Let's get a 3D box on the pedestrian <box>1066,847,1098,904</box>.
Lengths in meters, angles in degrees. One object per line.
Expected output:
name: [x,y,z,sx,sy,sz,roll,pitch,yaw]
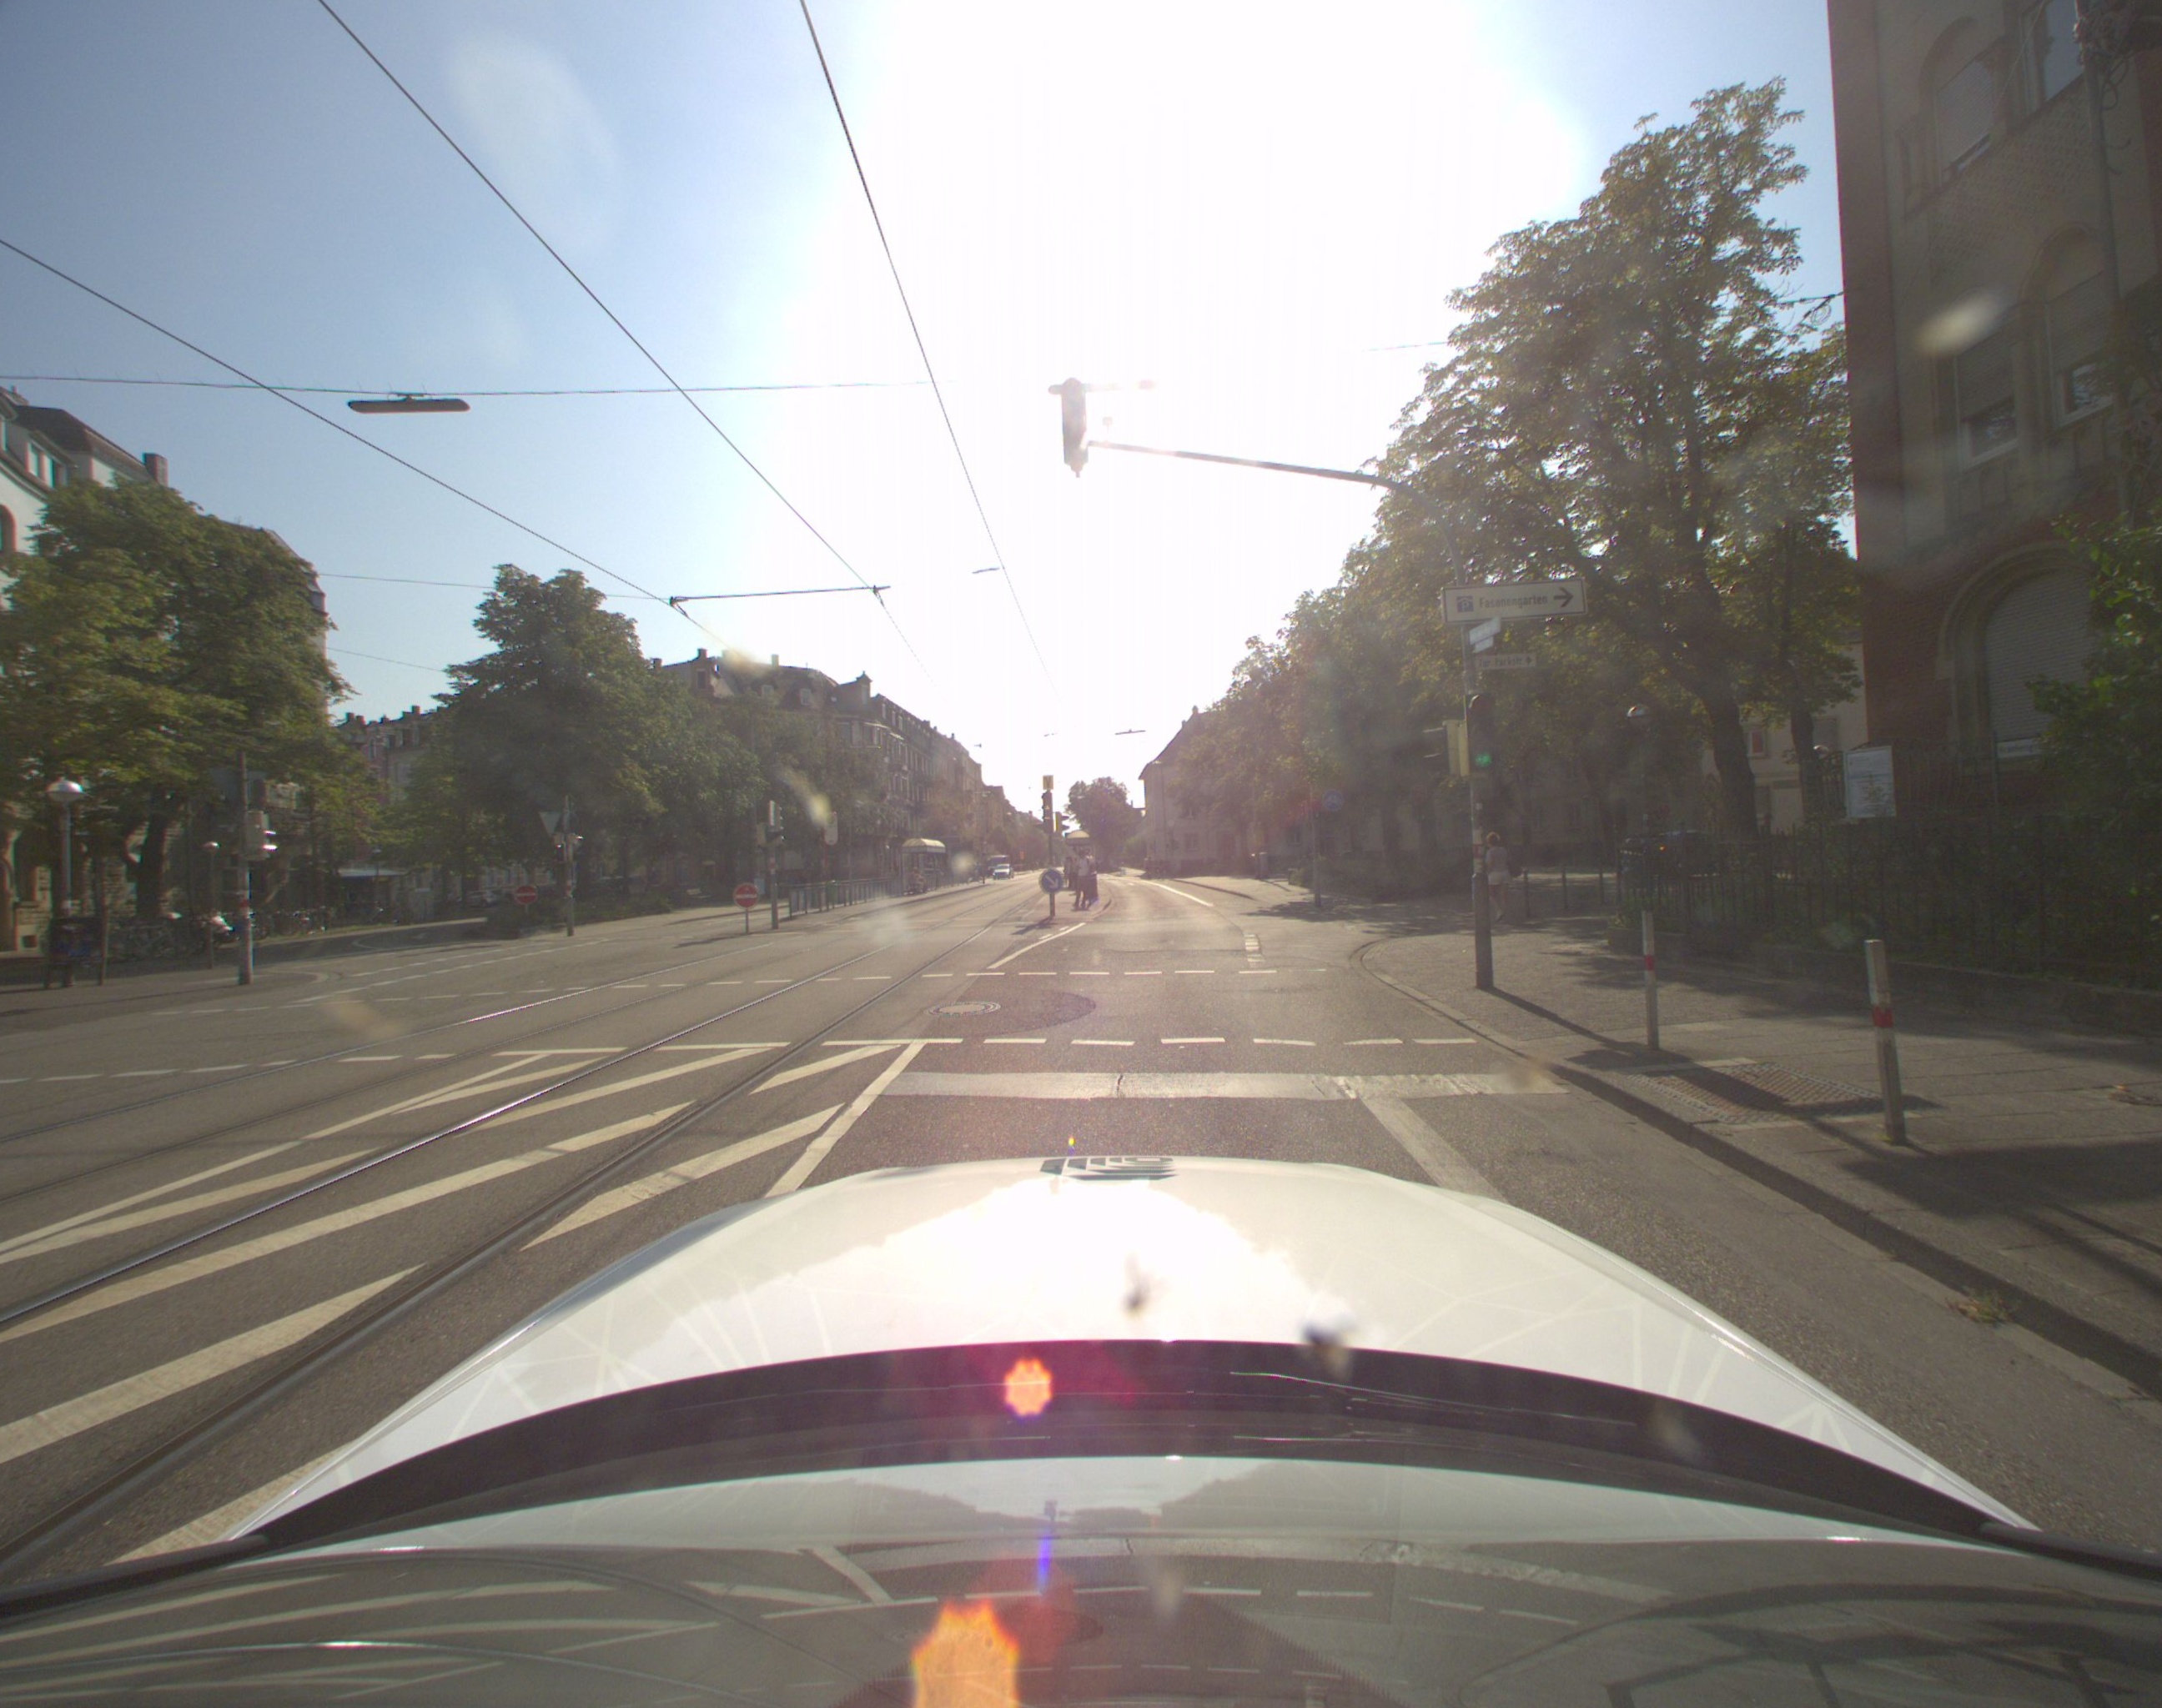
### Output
pedestrian: [0.043,0.671,25.624,0.693,1.725,0.753,1,2,34]

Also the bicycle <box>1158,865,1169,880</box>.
bicycle: [5.868,1.306,57.888,0.556,0.978,1.856,-3,0,0]

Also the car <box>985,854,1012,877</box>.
car: [-10.283,1.379,101.830,2.336,2.662,5.112,-3,-1,5]

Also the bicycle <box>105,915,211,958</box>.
bicycle: [-25.941,2.310,22.922,1.887,1.034,0.563,-1,-2,-38]

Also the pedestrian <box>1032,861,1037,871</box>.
pedestrian: [-7.950,2.093,140.038,0.749,1.731,0.769,-3,-1,-8]

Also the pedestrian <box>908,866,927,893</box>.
pedestrian: [-8.506,1.307,42.370,0.826,1.359,0.775,-3,-1,-4]

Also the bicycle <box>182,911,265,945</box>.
bicycle: [-30.283,2.595,28.800,1.885,1.027,0.657,-2,-2,-33]

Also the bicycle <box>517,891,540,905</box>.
bicycle: [-43.427,3.463,64.025,1.833,0.958,0.551,-3,-1,24]

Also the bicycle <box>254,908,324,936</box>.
bicycle: [-31.771,2.724,32.704,1.908,0.980,0.679,-2,-2,-33]

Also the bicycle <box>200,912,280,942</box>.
bicycle: [-30.860,2.683,29.928,1.919,0.935,0.730,-2,-2,-33]

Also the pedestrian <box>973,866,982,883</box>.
pedestrian: [-10.541,2.092,82.930,0.747,1.731,0.772,-3,-1,3]

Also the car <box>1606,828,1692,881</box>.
car: [18.719,-0.019,26.751,1.592,1.515,4.253,-3,0,44]

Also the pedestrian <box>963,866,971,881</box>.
pedestrian: [-13.237,2.224,94.533,0.749,1.731,0.769,-3,-1,-8]

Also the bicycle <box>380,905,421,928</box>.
bicycle: [-32.926,3.019,39.439,0.423,0.978,1.770,-3,0,1]

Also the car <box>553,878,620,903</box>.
car: [-36.311,2.692,59.801,4.284,1.569,2.011,-3,-1,22]

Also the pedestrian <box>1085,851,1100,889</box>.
pedestrian: [0.565,0.745,38.786,0.706,1.759,0.534,0,2,1]

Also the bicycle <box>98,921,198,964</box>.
bicycle: [-23.856,2.243,20.851,0.473,0.920,1.619,-3,-1,31]

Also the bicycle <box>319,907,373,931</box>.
bicycle: [-34.420,3.053,38.153,1.771,0.978,0.516,-3,-1,-21]

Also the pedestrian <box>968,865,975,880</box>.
pedestrian: [-13.083,2.234,97.488,0.749,1.731,0.769,-3,-1,-8]

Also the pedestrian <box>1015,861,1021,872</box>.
pedestrian: [-10.164,2.076,131.551,0.749,1.731,0.769,-3,-1,-8]

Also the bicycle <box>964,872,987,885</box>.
bicycle: [-9.150,2.100,70.396,1.935,0.978,0.495,-3,-1,-8]

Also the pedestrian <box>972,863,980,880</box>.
pedestrian: [-11.040,1.876,85.656,0.749,1.731,0.769,-3,-1,-8]

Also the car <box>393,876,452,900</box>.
car: [-57.984,2.977,71.754,3.959,1.828,2.007,-3,-1,13]

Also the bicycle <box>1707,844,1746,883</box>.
bicycle: [17.757,0.244,22.381,1.779,0.978,0.421,-3,-1,-39]

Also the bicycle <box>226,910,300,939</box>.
bicycle: [-31.445,2.700,31.338,1.908,0.980,0.679,-2,-2,-33]

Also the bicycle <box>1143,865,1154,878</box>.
bicycle: [5.129,1.327,61.805,0.627,0.978,1.769,-3,0,0]

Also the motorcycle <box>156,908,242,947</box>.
motorcycle: [-29.996,2.475,27.745,1.882,1.154,0.601,-2,-2,-33]

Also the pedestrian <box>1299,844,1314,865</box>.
pedestrian: [19.127,0.053,69.015,0.882,1.740,0.781,-3,-1,38]

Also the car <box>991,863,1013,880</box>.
car: [-8.331,1.829,86.589,1.794,1.653,3.644,-3,-1,2]

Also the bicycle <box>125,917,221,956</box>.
bicycle: [-26.789,2.410,24.064,1.814,0.984,0.563,-1,-2,-40]

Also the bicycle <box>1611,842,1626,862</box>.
bicycle: [27.362,-0.119,41.439,0.420,0.978,1.566,-3,-1,39]

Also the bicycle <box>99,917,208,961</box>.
bicycle: [-24.892,2.258,21.883,0.562,1.003,1.890,-3,-2,37]

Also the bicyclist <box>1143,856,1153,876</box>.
bicyclist: [5.116,0.931,61.807,0.627,1.507,0.678,-3,-1,-1]

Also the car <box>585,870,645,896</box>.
car: [-36.038,2.235,62.988,3.952,1.828,2.011,-3,-1,22]

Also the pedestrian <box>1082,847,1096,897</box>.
pedestrian: [0.300,0.655,29.888,0.502,1.834,0.534,0,2,1]

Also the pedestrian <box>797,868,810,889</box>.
pedestrian: [-23.285,2.036,68.372,0.775,1.731,0.744,-2,-1,-37]

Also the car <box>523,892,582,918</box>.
car: [-42.771,4.128,65.903,3.952,1.828,2.011,-3,-1,22]

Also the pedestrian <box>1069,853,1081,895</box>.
pedestrian: [-0.244,0.846,34.598,0.502,1.759,0.534,0,2,1]

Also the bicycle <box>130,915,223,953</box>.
bicycle: [-27.635,2.433,24.912,1.814,0.983,0.652,-1,-2,-40]

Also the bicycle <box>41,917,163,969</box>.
bicycle: [-24.752,2.223,20.639,0.563,1.113,1.888,-3,-1,22]

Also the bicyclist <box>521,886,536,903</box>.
bicyclist: [-43.401,3.179,64.002,0.811,1.328,0.551,-3,-1,24]

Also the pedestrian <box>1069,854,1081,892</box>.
pedestrian: [-0.295,0.897,38.608,0.541,1.759,0.534,0,2,1]

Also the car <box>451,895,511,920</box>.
car: [-47.688,4.254,64.758,3.952,1.828,2.011,-3,-1,22]

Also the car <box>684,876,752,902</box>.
car: [-26.091,2.506,58.476,4.346,1.569,1.982,-2,-1,-27]

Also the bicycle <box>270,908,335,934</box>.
bicycle: [-32.534,2.785,34.054,1.877,0.935,0.635,-2,-1,-17]

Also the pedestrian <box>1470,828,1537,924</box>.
pedestrian: [7.977,0.401,15.405,0.749,1.731,0.769,-3,-1,-8]

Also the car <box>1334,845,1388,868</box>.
car: [19.118,0.176,55.807,1.752,1.428,4.134,-3,0,-8]

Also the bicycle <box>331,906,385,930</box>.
bicycle: [-34.539,3.059,38.931,1.772,0.978,0.601,-3,-1,-23]

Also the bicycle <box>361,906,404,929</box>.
bicycle: [-33.306,3.024,38.856,0.423,0.978,1.770,-3,0,1]

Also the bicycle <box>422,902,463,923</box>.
bicycle: [-33.513,3.068,42.763,1.754,0.978,0.607,-3,-1,8]

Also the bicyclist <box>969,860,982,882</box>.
bicyclist: [-9.139,1.477,70.409,0.986,1.857,0.492,-3,-1,-8]

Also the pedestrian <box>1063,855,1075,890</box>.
pedestrian: [-0.595,0.922,40.841,0.530,1.759,0.545,0,2,2]

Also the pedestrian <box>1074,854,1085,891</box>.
pedestrian: [-0.067,0.892,39.414,0.541,1.759,0.534,0,2,1]

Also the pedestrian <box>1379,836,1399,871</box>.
pedestrian: [15.868,-0.025,41.959,0.883,1.740,0.780,-3,-1,20]

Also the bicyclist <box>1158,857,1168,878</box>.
bicyclist: [5.845,0.970,57.906,0.556,1.417,0.871,-3,-1,-1]

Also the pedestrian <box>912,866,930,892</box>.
pedestrian: [-8.510,1.318,43.347,0.826,1.359,0.775,-3,-1,-4]
